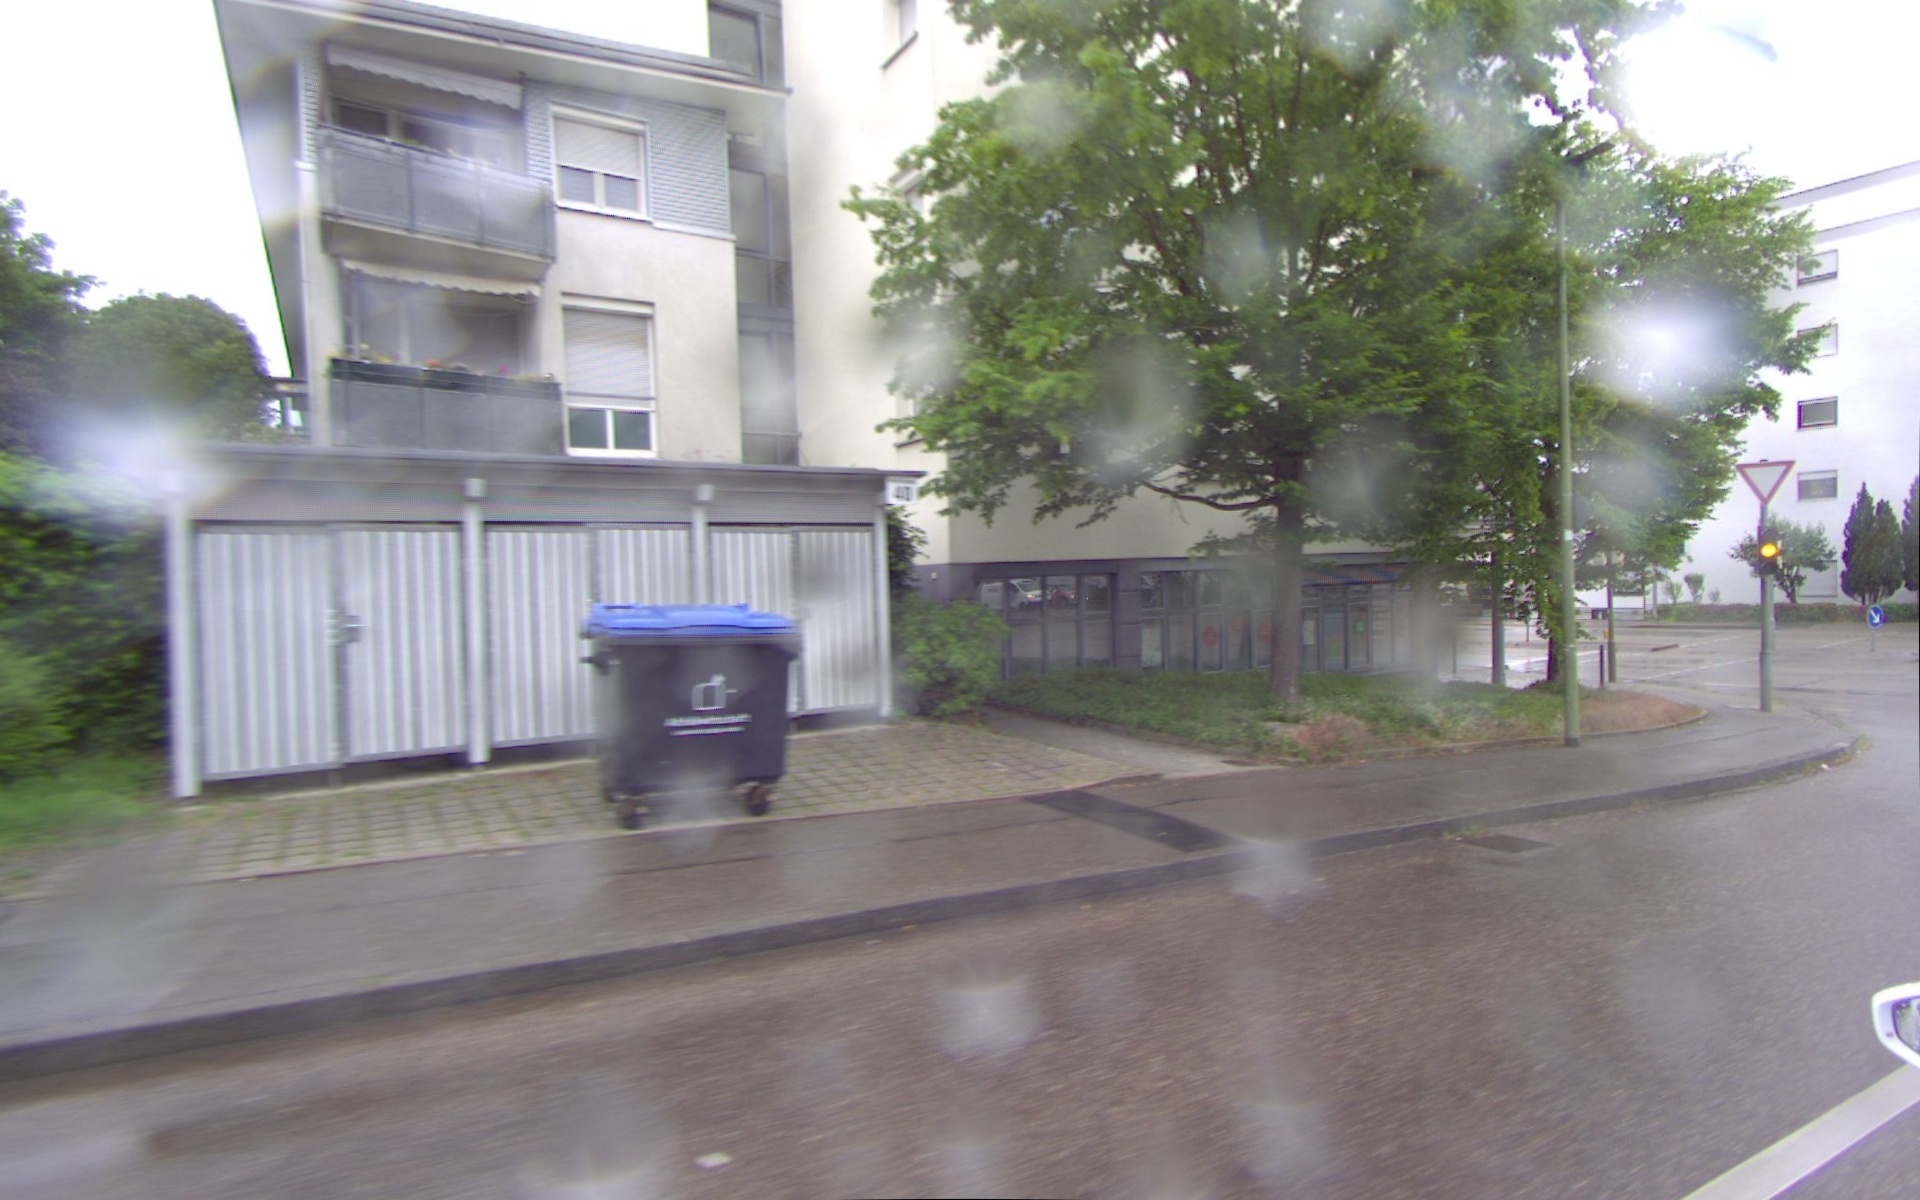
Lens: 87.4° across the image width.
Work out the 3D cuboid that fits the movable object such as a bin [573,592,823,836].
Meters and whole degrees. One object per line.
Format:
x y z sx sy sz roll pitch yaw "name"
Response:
-1.710 0.652 6.495 1.304 1.365 1.065 1 2 -32 "movable object such as a bin"
